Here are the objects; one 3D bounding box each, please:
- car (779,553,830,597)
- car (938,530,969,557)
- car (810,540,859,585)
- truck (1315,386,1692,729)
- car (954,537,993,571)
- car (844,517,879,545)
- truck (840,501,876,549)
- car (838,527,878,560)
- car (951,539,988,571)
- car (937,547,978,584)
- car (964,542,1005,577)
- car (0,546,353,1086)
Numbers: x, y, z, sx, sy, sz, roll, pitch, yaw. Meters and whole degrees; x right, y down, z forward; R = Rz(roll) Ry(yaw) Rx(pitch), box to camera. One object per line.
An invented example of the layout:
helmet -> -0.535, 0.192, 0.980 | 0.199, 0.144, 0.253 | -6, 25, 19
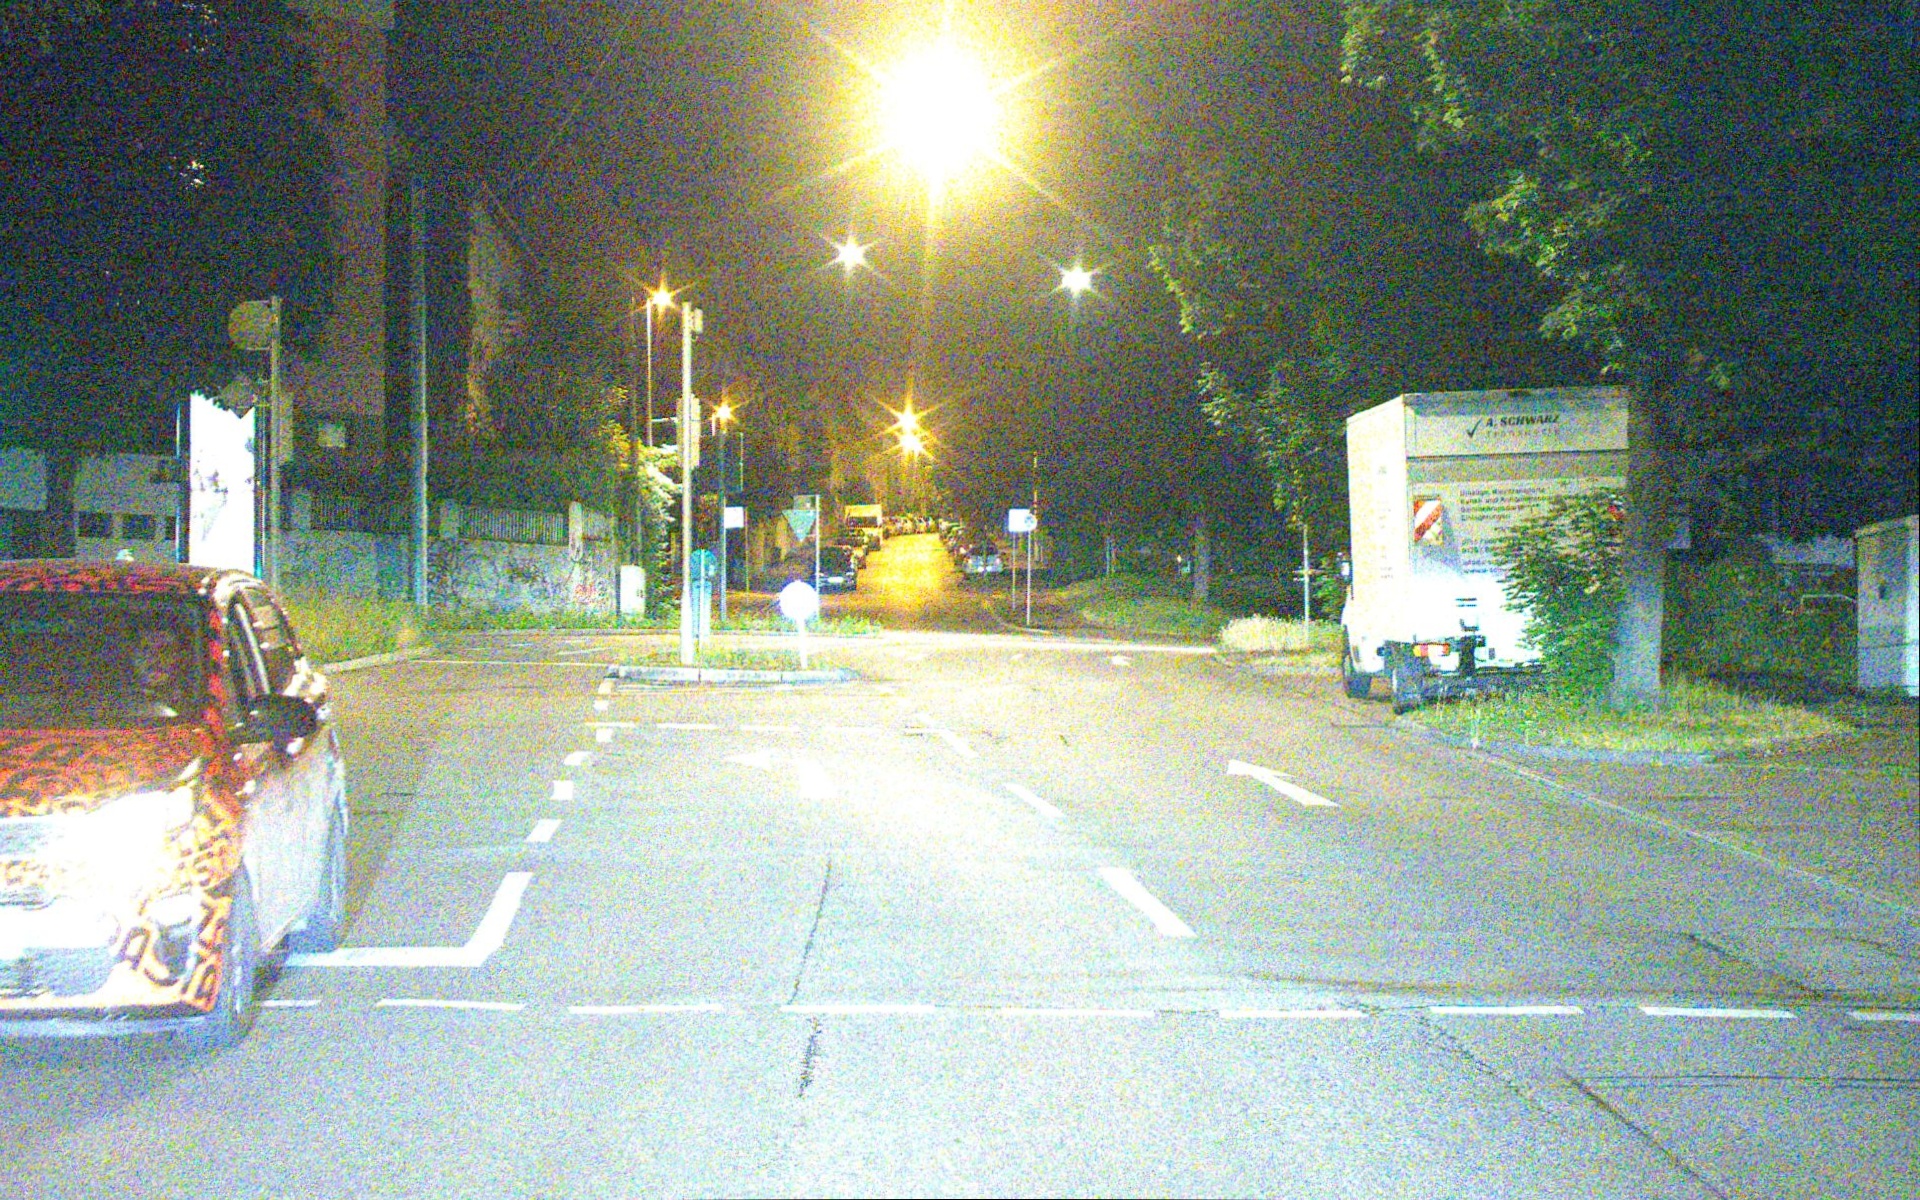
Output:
car -> -5.328, -0.865, 118.221 | 1.634, 1.447, 3.485 | 1, 1, -1
car -> -0.379, -3.162, 191.477 | 1.634, 1.447, 3.485 | 1, 1, -1
car -> -4.901, -1.476, 134.441 | 1.815, 1.678, 4.000 | 1, 1, -1
truck -> 5.300, -0.433, 34.632 | 2.749, 3.100, 6.258 | 1, 1, 0
car -> 0.585, -2.053, 153.088 | 1.634, 1.447, 3.485 | 1, 1, -1
car -> -5.375, -3.759, 186.943 | 1.815, 1.486, 4.000 | 1, 1, -2
truck -> -6.221, -4.569, 209.573 | 2.086, 2.838, 5.832 | 1, 1, -2
car -> -4.795, -2.635, 160.562 | 1.815, 1.486, 4.000 | 1, 1, -2
car -> 0.448, -2.105, 159.273 | 1.634, 1.447, 3.485 | 1, 1, -1
car -> -0.101, -1.396, 138.321 | 1.593, 1.471, 3.654 | 0, 1, -1
car -> 1.025, -1.694, 143.355 | 1.634, 1.447, 3.485 | 1, 1, -1
car -> -3.020, 0.581, 11.328 | 1.581, 1.496, 3.396 | 1, 1, -3
